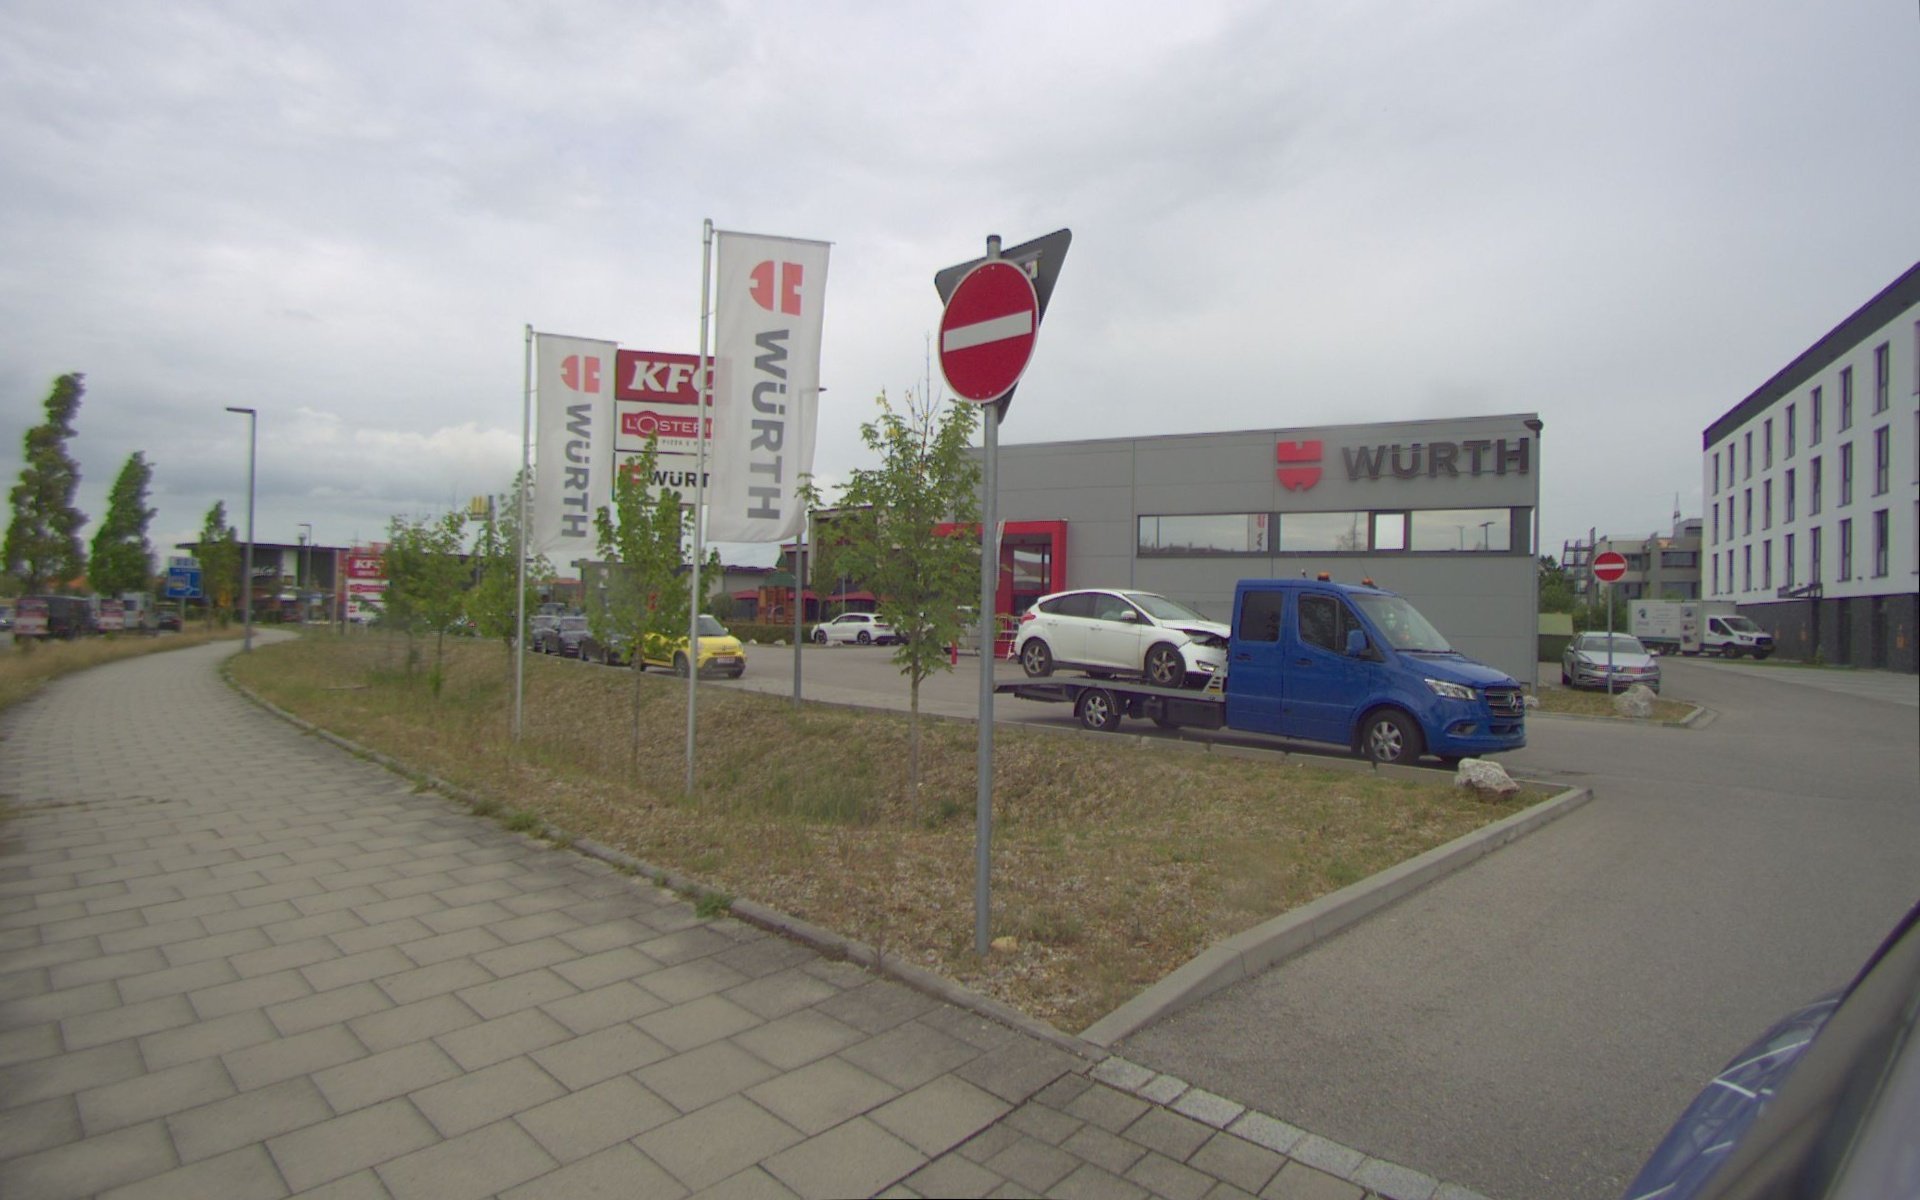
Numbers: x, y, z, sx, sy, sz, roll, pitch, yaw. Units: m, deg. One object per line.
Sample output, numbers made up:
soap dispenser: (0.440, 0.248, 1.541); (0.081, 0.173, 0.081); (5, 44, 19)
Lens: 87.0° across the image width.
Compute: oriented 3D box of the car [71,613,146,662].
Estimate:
car: (-31.396, 1.334, 37.392); (1.652, 1.698, 3.507); (1, 0, -32)

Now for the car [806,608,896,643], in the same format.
car: (-5.808, 1.340, 53.817); (4.702, 1.771, 1.739); (0, -1, 30)

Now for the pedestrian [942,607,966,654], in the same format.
pedestrian: (-0.239, 1.201, 39.887); (0.653, 1.831, 0.642); (1, -1, 30)

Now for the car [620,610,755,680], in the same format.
car: (-7.377, 1.128, 27.143); (1.723, 1.705, 4.289); (1, -1, -42)

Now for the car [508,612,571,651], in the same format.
car: (-17.658, 1.268, 42.373); (1.683, 1.518, 4.000); (1, 0, -34)

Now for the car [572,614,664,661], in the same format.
car: (-10.991, 1.147, 32.392); (1.710, 1.379, 3.999); (1, 0, -35)

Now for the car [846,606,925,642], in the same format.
car: (-4.162, 1.291, 56.264); (3.966, 1.883, 1.979); (1, -1, 30)

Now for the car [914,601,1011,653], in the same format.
car: (0.100, 1.070, 41.280); (3.642, 2.004, 1.659); (0, -1, 29)

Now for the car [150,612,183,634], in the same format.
car: (-54.187, 1.545, 69.147); (1.466, 1.403, 3.343); (1, 0, -32)

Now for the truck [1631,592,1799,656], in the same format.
truck: (38.497, 1.145, 51.959); (2.386, 3.055, 7.082); (0, 0, -12)

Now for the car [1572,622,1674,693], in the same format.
car: (16.945, 1.373, 25.864); (1.968, 1.510, 4.712); (3, 1, 34)

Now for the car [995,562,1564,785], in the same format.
car: (3.903, 0.757, 14.442); (2.162, 2.352, 7.848); (1, 0, -39)

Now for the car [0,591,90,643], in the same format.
car: (-36.616, 0.700, 40.587); (1.961, 1.948, 4.848); (1, -2, -33)

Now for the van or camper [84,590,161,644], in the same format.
van or camper: (-42.324, 0.879, 51.299); (2.153, 2.574, 6.168); (1, -2, -32)

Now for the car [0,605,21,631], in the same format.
car: (-62.395, 1.128, 65.393); (1.872, 1.588, 4.335); (1, -1, -35)

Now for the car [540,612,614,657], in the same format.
car: (-14.215, 1.222, 37.427); (1.683, 1.518, 4.000); (1, 0, -34)
